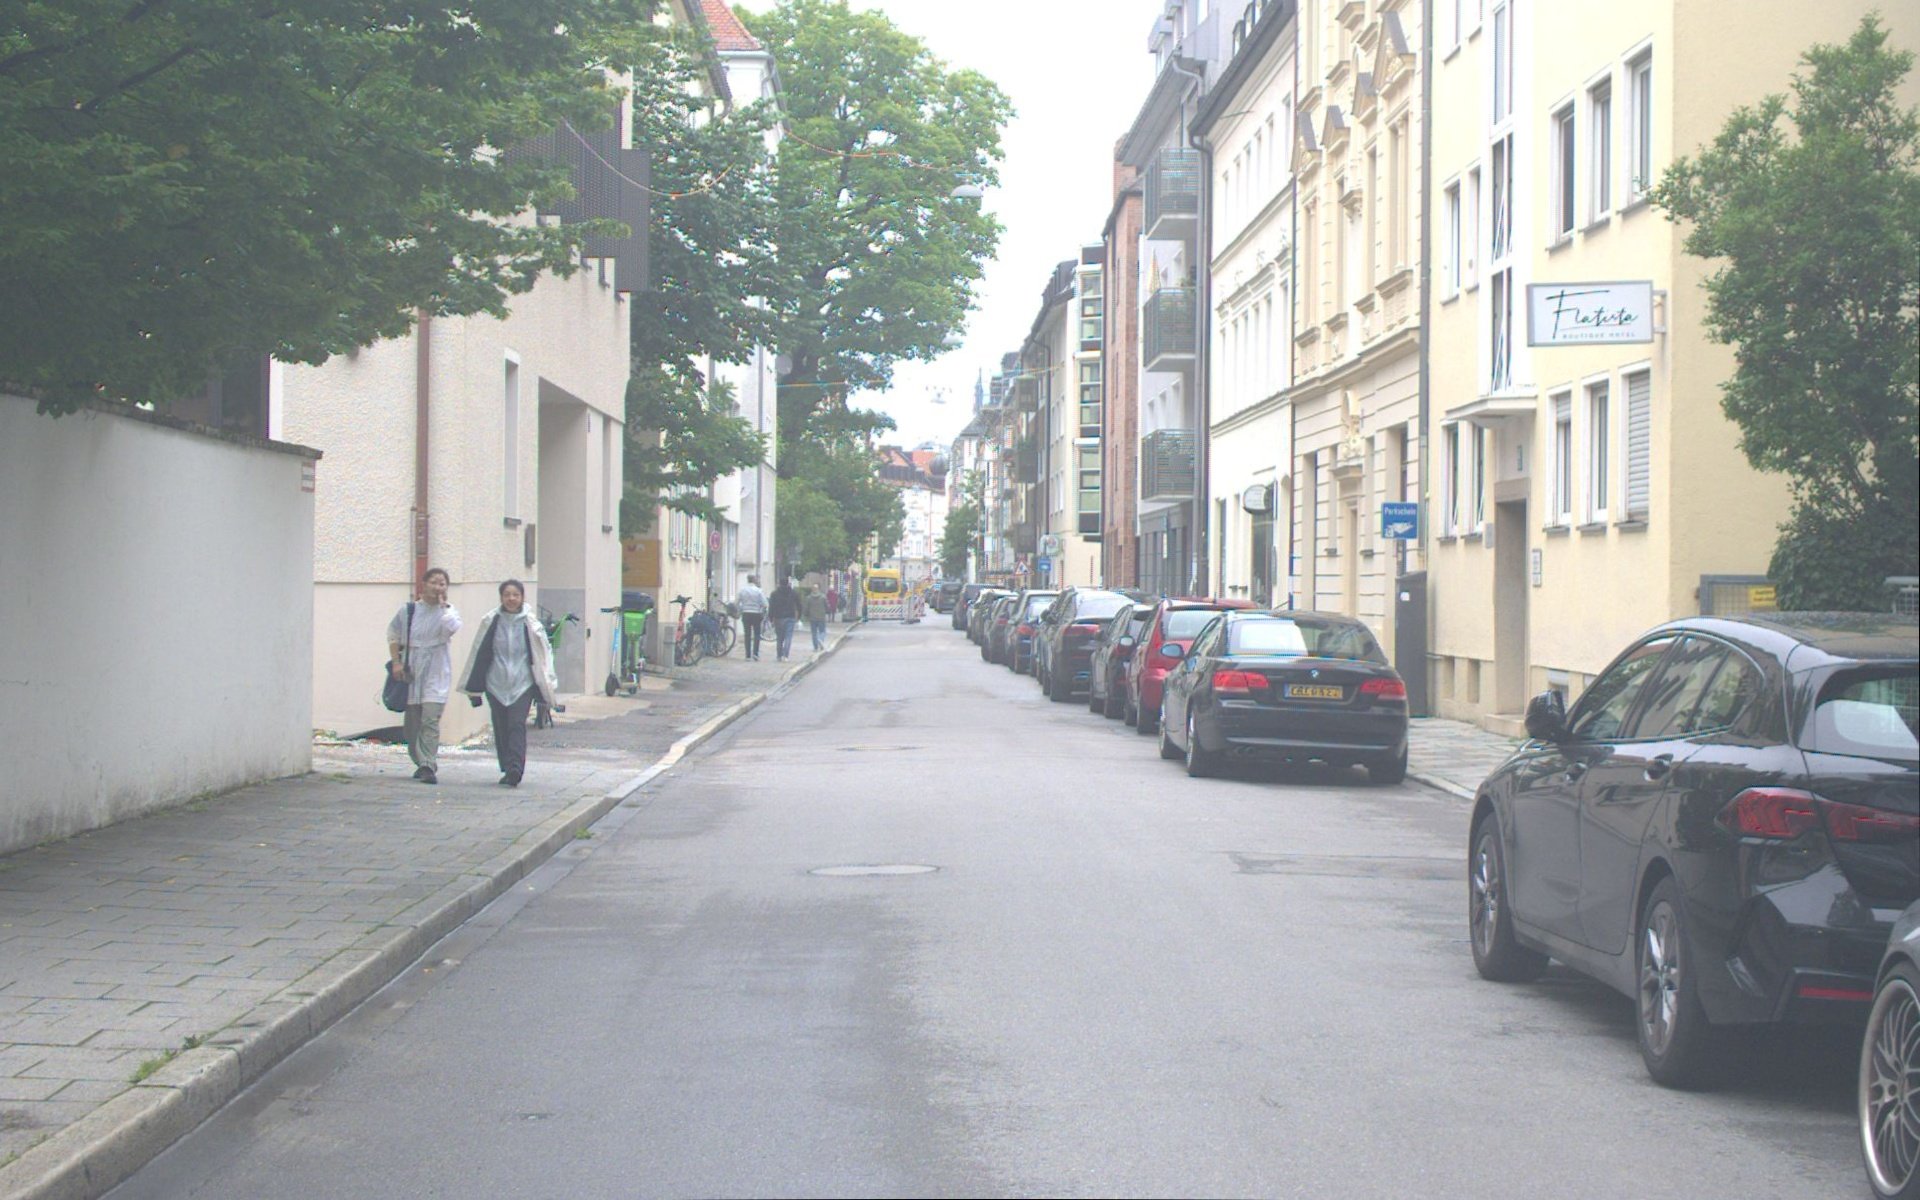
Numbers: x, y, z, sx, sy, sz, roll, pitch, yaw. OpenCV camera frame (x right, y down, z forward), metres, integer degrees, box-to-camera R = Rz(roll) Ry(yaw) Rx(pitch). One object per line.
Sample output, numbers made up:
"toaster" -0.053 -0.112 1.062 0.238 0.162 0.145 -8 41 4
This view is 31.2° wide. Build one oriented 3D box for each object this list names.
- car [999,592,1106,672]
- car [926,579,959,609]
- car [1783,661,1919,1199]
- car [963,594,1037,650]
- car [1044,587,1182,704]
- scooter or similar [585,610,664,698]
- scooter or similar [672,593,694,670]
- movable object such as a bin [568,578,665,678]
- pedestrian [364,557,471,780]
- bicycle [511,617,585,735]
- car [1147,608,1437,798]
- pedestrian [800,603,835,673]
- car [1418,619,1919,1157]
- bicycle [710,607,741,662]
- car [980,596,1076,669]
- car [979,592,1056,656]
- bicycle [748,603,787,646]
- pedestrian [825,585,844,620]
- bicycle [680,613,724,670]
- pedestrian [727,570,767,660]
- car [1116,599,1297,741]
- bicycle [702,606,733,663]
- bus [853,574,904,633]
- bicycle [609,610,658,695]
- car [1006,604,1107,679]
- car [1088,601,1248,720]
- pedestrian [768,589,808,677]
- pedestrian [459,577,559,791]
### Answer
"car" 1.862 0.641 70.459 1.875 1.565 4.316 -1 0 -3
"car" -1.113 -0.361 214.602 1.801 1.706 3.827 4 0 -3
"car" 3.149 0.930 6.975 1.790 1.396 4.485 4 0 0
"car" 1.141 0.627 100.078 1.885 1.550 4.392 1 0 -3
"car" 2.178 0.622 49.981 1.702 1.601 4.685 1 0 -1
"scooter or similar" -4.523 0.733 46.438 0.552 1.140 1.357 3 0 16
"scooter or similar" -4.983 0.566 61.836 0.317 1.371 1.239 0 0 -1
"movable object such as a bin" -5.382 0.431 53.990 1.174 1.437 1.248 6 1 5
"pedestrian" -4.062 0.508 25.781 0.613 1.615 0.687 3 0 -1
"bicycle" -4.169 0.756 34.863 0.537 1.135 1.917 2 0 -2
"car" 2.721 0.814 29.178 1.825 1.330 4.509 4 0 -1
"pedestrian" -3.464 0.920 83.718 0.753 1.653 0.906 3 -1 -1
"car" 2.930 0.868 11.836 1.840 1.424 4.264 4 0 -3
"bicycle" -5.006 0.727 73.427 0.561 1.155 1.721 1 0 -7
"car" 1.465 0.696 75.341 1.839 1.523 4.293 1 0 -2
"car" 1.439 0.597 87.420 1.775 1.550 4.000 1 0 -1
"bicycle" -5.411 0.688 96.390 0.641 1.213 1.665 0 0 -20
"pedestrian" -5.280 0.110 144.657 0.756 1.486 0.831 0 -1 -1
"bicycle" -4.781 0.762 63.569 0.703 0.981 1.823 5 -1 -5
"pedestrian" -4.356 0.306 70.339 0.718 1.790 0.917 2 -1 -1
"car" 2.731 0.748 38.843 1.676 1.487 3.853 1 0 -1
"bicycle" -5.057 0.716 71.710 0.458 1.155 1.605 3 0 0
"bus" -4.298 0.189 182.456 2.592 3.091 6.306 0 0 -1
"bicycle" -4.604 0.732 48.503 0.544 1.157 1.882 2 0 -2
"car" 1.812 0.769 65.538 1.808 1.358 3.945 0 0 0
"car" 2.571 0.730 43.235 1.676 1.388 4.065 1 0 -1
"pedestrian" -3.531 0.672 70.547 0.718 1.759 0.838 2 -1 -1
"pedestrian" -3.384 0.625 25.833 0.622 1.573 0.714 2 -1 -1
